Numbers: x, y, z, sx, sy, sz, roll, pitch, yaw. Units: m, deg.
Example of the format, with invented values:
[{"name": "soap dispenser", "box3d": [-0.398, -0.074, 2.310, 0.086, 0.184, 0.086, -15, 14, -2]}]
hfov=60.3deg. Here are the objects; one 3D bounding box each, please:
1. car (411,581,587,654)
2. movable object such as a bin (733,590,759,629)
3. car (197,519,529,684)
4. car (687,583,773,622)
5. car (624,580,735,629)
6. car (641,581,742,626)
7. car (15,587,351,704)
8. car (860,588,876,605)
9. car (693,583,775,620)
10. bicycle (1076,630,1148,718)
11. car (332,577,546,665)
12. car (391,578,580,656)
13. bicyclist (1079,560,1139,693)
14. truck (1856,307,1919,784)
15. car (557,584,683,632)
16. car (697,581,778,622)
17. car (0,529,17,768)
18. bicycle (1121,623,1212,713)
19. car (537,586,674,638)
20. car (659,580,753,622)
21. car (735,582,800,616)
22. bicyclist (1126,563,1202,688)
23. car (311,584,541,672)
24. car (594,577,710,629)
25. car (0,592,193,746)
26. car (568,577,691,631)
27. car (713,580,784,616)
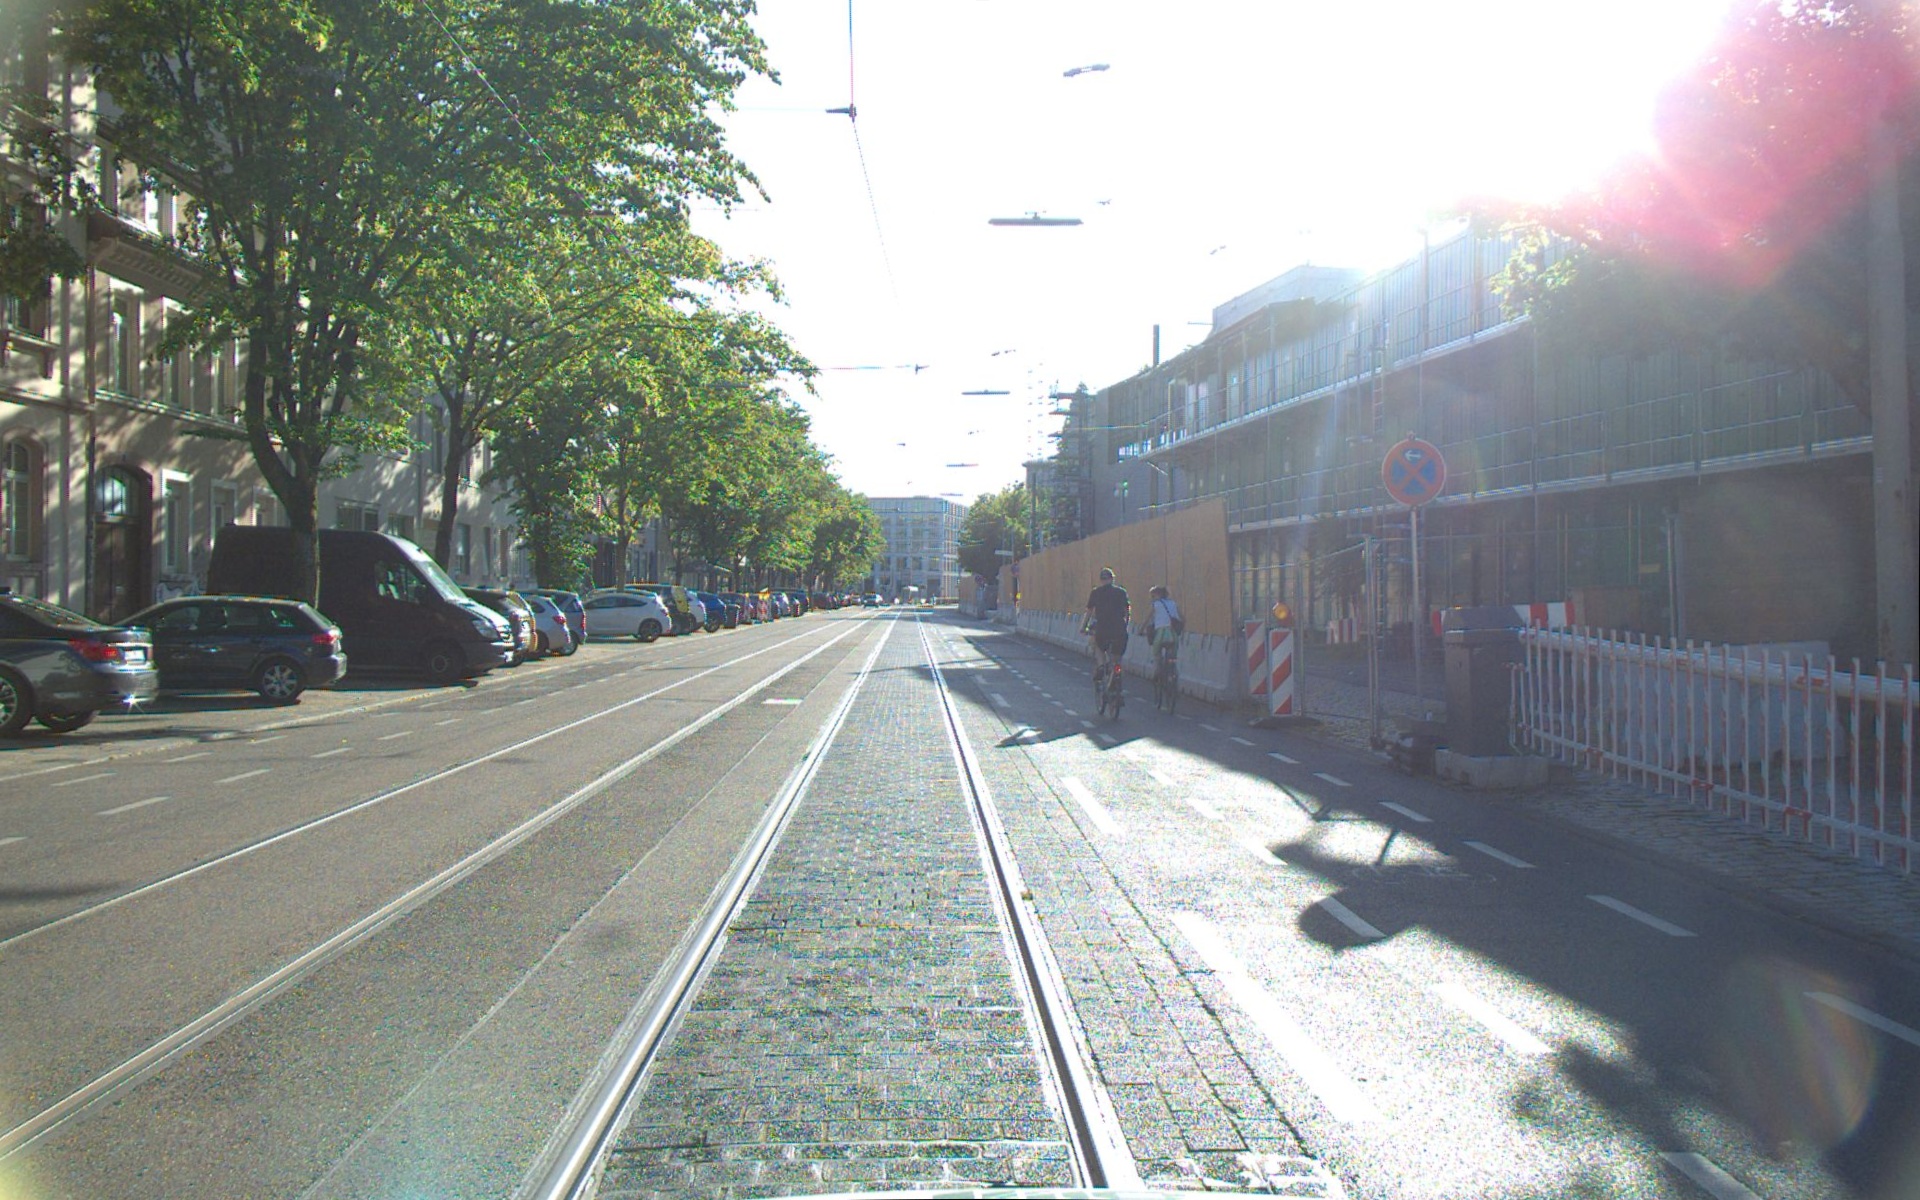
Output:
[{"name": "car", "box3d": [-11.552, 0.433, 41.709, 4.011, 1.636, 1.825, 3, 0, -9]}, {"name": "movable object such as a bin", "box3d": [-9.619, 0.425, 74.280, 0.889, 1.696, 0.759, 3, -1, -24]}, {"name": "car", "box3d": [-10.576, 0.039, 29.682, 5.080, 2.623, 2.243, 3, -1, -6]}, {"name": "car", "box3d": [-11.939, 0.128, 85.880, 4.033, 1.784, 1.815, 3, -1, -24]}, {"name": "car", "box3d": [-11.331, 0.176, 66.806, 4.033, 1.784, 1.815, 3, -1, -24]}, {"name": "car", "box3d": [-11.905, 0.167, 73.264, 4.033, 1.784, 1.815, 3, -1, -24]}, {"name": "car", "box3d": [-10.805, 0.636, 23.321, 4.025, 1.444, 1.819, 3, 0, -19]}, {"name": "car", "box3d": [-11.009, -0.434, 198.312, 1.648, 1.869, 3.867, 3, 0, -5]}, {"name": "car", "box3d": [-12.186, 0.097, 89.217, 4.033, 1.784, 1.815, 3, -1, -24]}, {"name": "bicycle", "box3d": [1.935, 0.925, 21.294, 0.666, 1.036, 1.920, 0, 0, -3]}, {"name": "car", "box3d": [-10.935, 0.440, 34.958, 4.011, 1.636, 1.825, 3, 0, -9]}, {"name": "car", "box3d": [-11.174, 0.406, 39.185, 4.011, 1.636, 1.825, 3, 0, -9]}, {"name": "bicyclist", "box3d": [1.922, 0.335, 21.437, 0.666, 1.687, 0.811, 0, 0, -3]}, {"name": "truck", "box3d": [10.342, -0.501, 11.461, 6.954, 3.406, 2.389, -2, 0, -2]}, {"name": "car", "box3d": [-11.863, 0.273, 57.722, 4.030, 1.478, 1.816, 3, 0, -22]}, {"name": "car", "box3d": [-12.391, 0.081, 92.147, 4.033, 2.090, 1.815, 3, -1, -24]}, {"name": "car", "box3d": [-10.700, 0.435, 13.280, 5.265, 2.026, 2.022, -1, 1, -26]}, {"name": "bicycle", "box3d": [2.813, 0.901, 22.788, 0.875, 1.112, 2.430, 1, 0, -1]}, {"name": "car", "box3d": [-11.376, 0.380, 53.066, 4.030, 1.478, 1.816, 3, 0, -22]}, {"name": "car", "box3d": [-11.972, 0.062, 77.961, 4.033, 1.784, 1.815, 3, -1, -24]}, {"name": "car", "box3d": [-13.225, -0.079, 113.489, 4.033, 2.090, 1.815, 3, -1, -24]}, {"name": "bicyclist", "box3d": [2.820, 0.343, 22.959, 0.875, 1.668, 1.100, 1, 0, -2]}, {"name": "car", "box3d": [-10.373, 0.532, 32.389, 4.011, 1.636, 1.825, 1, 0, -9]}, {"name": "car", "box3d": [-11.777, 0.126, 63.227, 4.033, 1.784, 1.815, 3, -1, -24]}, {"name": "car", "box3d": [-10.338, 0.640, 17.034, 4.013, 1.444, 1.824, 3, 0, -10]}, {"name": "car", "box3d": [-12.049, 0.138, 60.289, 4.033, 1.784, 1.815, 3, -1, -24]}, {"name": "car", "box3d": [-13.406, -0.098, 104.860, 4.033, 2.090, 1.815, 3, -1, -24]}]
